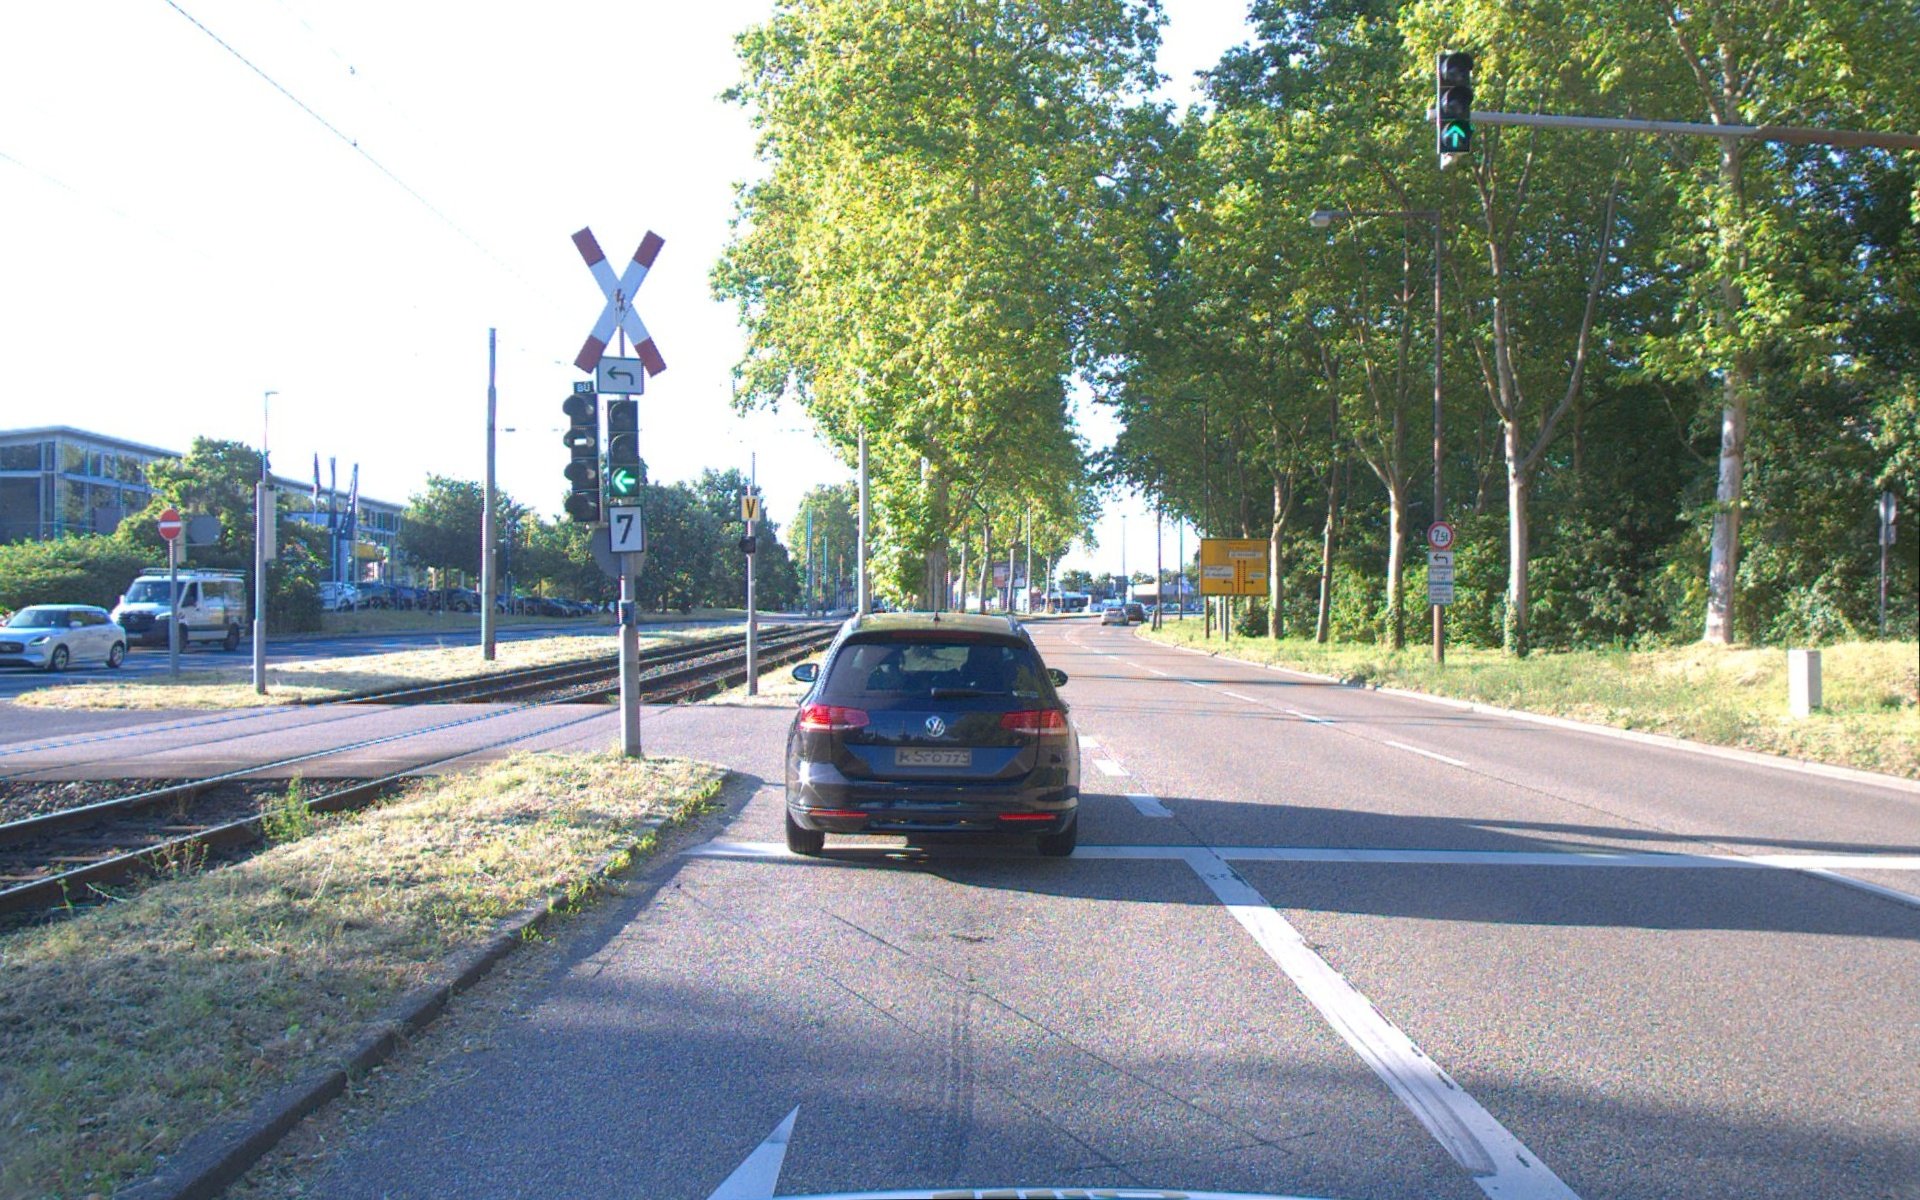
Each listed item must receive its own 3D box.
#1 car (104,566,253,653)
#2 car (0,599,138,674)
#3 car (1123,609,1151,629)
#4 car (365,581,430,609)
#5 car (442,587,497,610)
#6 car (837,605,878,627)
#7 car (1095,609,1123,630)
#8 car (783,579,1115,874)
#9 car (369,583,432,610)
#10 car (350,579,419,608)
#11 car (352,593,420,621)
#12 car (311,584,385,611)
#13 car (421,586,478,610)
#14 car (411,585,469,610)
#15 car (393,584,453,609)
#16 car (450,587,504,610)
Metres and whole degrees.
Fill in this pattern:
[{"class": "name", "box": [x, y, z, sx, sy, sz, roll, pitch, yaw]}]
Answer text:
[{"class": "car", "box": [-25.074, 0.311, 53.359, 1.962, 2.611, 5.876, 1, -1, 0]}, {"class": "car", "box": [-21.109, 0.814, 38.637, 1.832, 1.646, 3.999, 1, -1, -1]}, {"class": "car", "box": [13.570, 1.463, 126.803, 1.951, 1.465, 4.003, 1, -1, 8]}, {"class": "car", "box": [-34.507, -0.306, 101.553, 3.731, 1.594, 1.749, 1, -1, -20]}, {"class": "car", "box": [-35.456, -0.102, 119.559, 3.731, 1.594, 1.749, 1, -1, -20]}, {"class": "car", "box": [-8.241, 1.293, 133.222, 1.772, 1.713, 3.999, 0, 0, 22]}, {"class": "car", "box": [10.536, 1.364, 116.771, 1.951, 1.467, 4.002, 1, -1, 6]}, {"class": "car", "box": [-0.254, 0.719, 11.111, 1.789, 1.583, 4.253, 1, -1, -6]}, {"class": "car", "box": [-35.305, -0.228, 104.444, 3.731, 1.594, 1.749, 1, -1, -20]}, {"class": "car", "box": [-33.244, -0.356, 95.590, 3.731, 1.594, 1.749, 1, -1, -20]}, {"class": "car", "box": [-34.138, 0.422, 98.448, 3.731, 1.594, 1.749, 1, -1, -20]}, {"class": "car", "box": [-33.952, -0.122, 91.850, 3.731, 1.413, 1.749, 1, -1, -20]}, {"class": "car", "box": [-35.863, -0.151, 116.187, 3.731, 1.594, 1.749, 1, -1, -20]}, {"class": "car", "box": [-35.635, -0.181, 113.385, 3.731, 1.594, 1.749, 1, -1, -20]}, {"class": "car", "box": [-35.687, -0.224, 109.995, 3.731, 1.594, 1.749, 1, -1, -20]}, {"class": "car", "box": [-35.700, -0.072, 122.346, 3.731, 1.594, 1.749, 1, -1, -20]}]
